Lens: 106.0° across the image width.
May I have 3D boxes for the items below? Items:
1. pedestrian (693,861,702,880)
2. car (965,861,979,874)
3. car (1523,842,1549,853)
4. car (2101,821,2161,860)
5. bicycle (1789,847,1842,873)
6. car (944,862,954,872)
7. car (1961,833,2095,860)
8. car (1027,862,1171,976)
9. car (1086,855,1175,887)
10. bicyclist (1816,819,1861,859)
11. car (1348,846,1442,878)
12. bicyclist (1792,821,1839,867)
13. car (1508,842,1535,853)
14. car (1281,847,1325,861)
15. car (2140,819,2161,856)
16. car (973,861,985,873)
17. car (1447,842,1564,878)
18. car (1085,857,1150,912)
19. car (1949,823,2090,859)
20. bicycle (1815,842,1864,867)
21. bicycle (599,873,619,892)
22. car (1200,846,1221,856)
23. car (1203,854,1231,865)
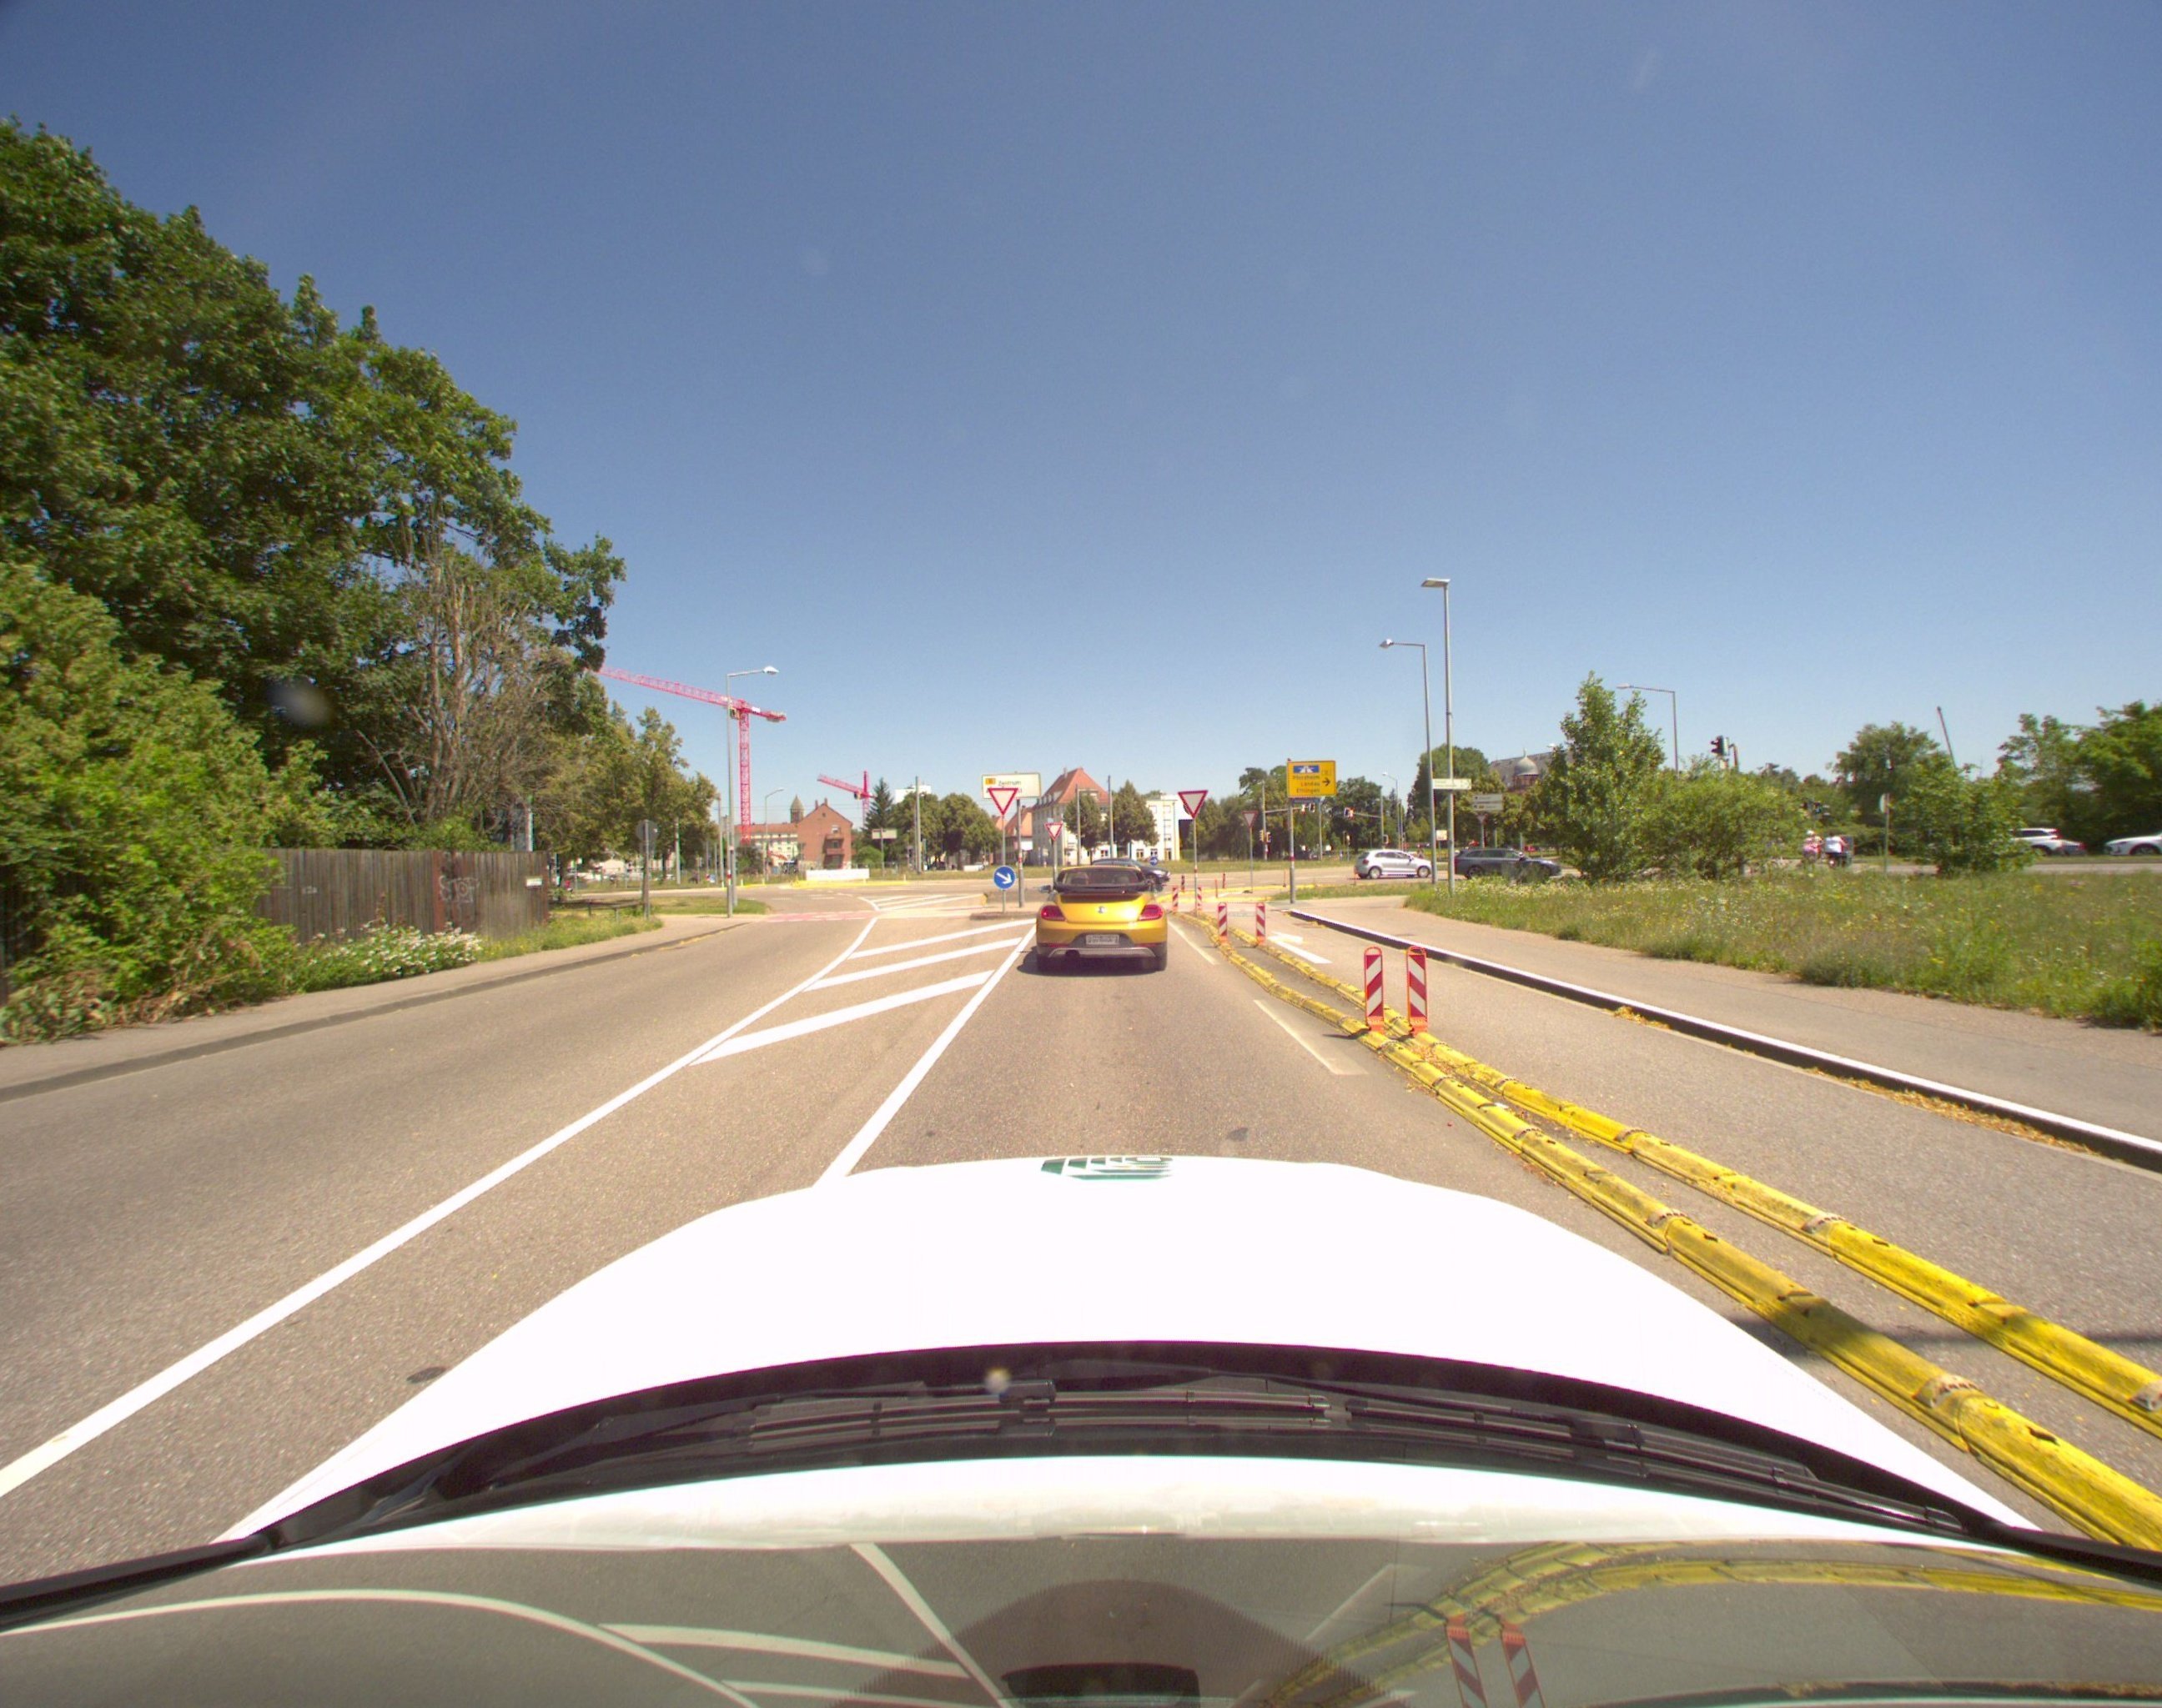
[{"bbox_3d":[-41.353,1.811,87.798,0.599,2.014,0.595,0,-1,1],"label":"pedestrian"},{"bbox_3d":[-16.932,2.057,126.196,1.994,2.014,3.985,0,-1,-11],"label":"car"},{"bbox_3d":[85.615,-1.207,153.220,3.949,2.014,2.012,-1,-1,41],"label":"car"},{"bbox_3d":[47.899,-0.641,35.294,4.352,1.683,1.876,-2,0,44],"label":"car"},{"bbox_3d":[26.758,0.202,29.671,2.234,0.900,0.889,-1,0,-33],"label":"bicycle"},{"bbox_3d":[-27.023,2.658,166.809,1.994,2.014,3.985,0,-1,-11],"label":"car"},{"bbox_3d":[49.142,-0.393,42.406,4.352,1.270,1.876,-2,0,44],"label":"car"},{"bbox_3d":[0.288,0.849,12.243,1.819,1.403,3.663,-1,0,2],"label":"car"},{"bbox_3d":[2.447,0.832,40.242,4.034,1.403,1.761,-2,0,18],"label":"car"},{"bbox_3d":[30.175,-0.609,32.448,1.189,1.531,0.951,-3,0,-28],"label":"bicyclist"},{"bbox_3d":[15.651,0.406,40.743,3.975,1.422,1.781,-2,0,-1],"label":"car"},{"bbox_3d":[26.769,-0.350,29.676,1.190,1.610,0.950,0,-1,-33],"label":"bicyclist"},{"bbox_3d":[82.149,-1.202,151.843,3.949,2.014,2.012,-1,-1,41],"label":"car"},{"bbox_3d":[23.370,0.006,85.863,2.011,1.464,3.951,0,-1,-42],"label":"car"},{"bbox_3d":[51.169,-0.811,36.429,4.352,1.683,1.876,-2,0,44],"label":"car"},{"bbox_3d":[-18.384,2.336,146.954,1.994,2.014,3.985,0,-1,-11],"label":"car"},{"bbox_3d":[18.968,0.272,36.616,4.404,1.418,2.010,-2,0,19],"label":"car"},{"bbox_3d":[1.026,0.861,24.779,1.791,1.440,4.000,-2,1,0],"label":"car"},{"bbox_3d":[46.255,-0.604,40.299,4.352,1.618,1.876,-2,0,44],"label":"car"},{"bbox_3d":[30.195,0.027,32.420,1.766,0.900,0.891,-3,2,-27],"label":"bicycle"},{"bbox_3d":[-42.422,2.576,73.159,0.556,1.685,2.086,0,-1,1],"label":"bicycle"},{"bbox_3d":[26.751,-0.586,167.725,3.956,2.014,2.009,-1,-1,16],"label":"car"},{"bbox_3d":[21.883,0.923,131.159,3.988,1.684,1.992,0,-1,-11],"label":"car"}]
